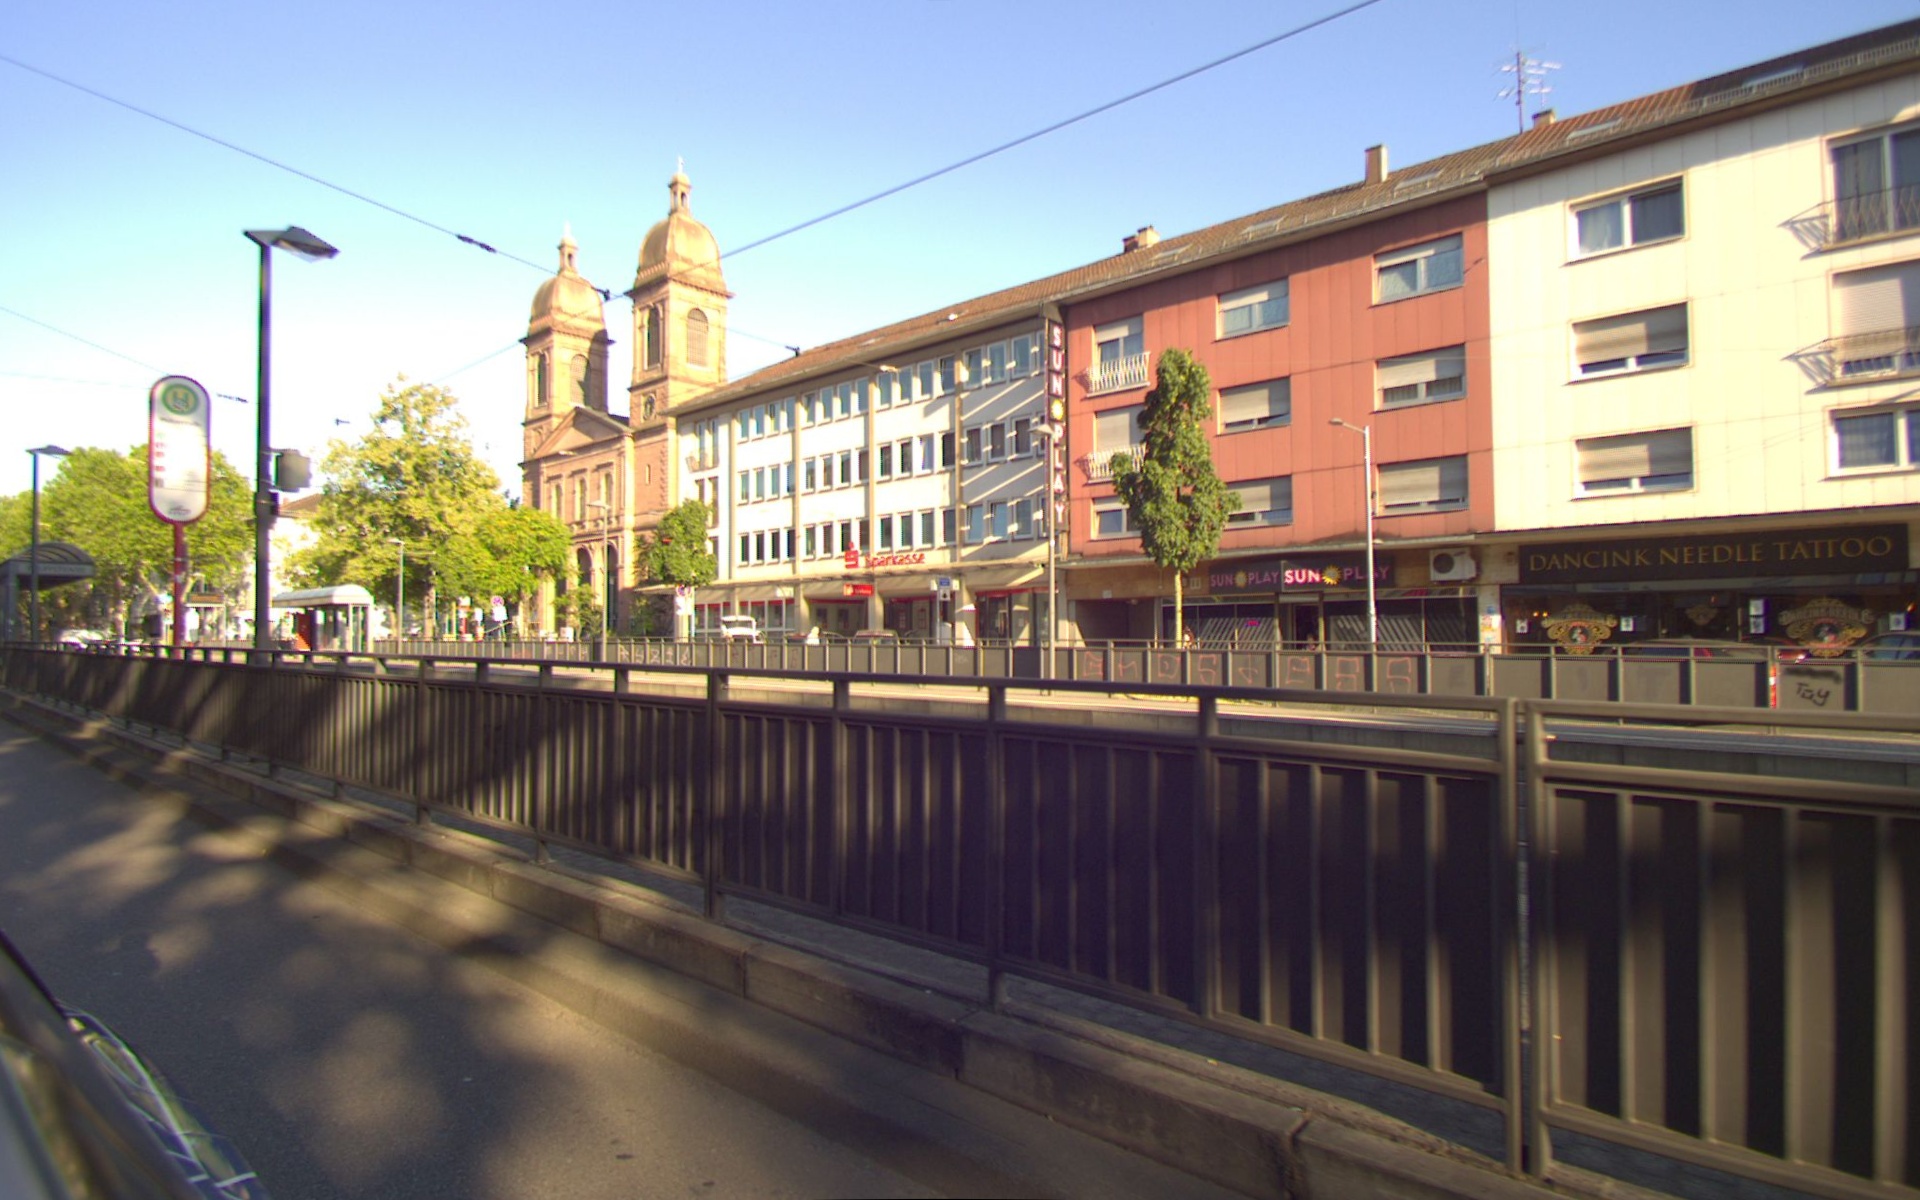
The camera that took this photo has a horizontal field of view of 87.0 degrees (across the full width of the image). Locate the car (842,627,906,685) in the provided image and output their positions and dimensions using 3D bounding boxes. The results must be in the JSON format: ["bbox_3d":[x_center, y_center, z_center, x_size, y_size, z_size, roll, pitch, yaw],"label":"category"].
[{"bbox_3d":[-2.656,1.698,31.570,1.842,1.541,4.004,-1,0,-4],"label":"car"}]

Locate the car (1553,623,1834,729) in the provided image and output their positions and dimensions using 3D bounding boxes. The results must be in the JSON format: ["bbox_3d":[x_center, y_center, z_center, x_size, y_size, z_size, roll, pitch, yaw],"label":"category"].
[{"bbox_3d":[12.832,1.246,18.024,1.834,1.502,3.778,-2,1,-11],"label":"car"}]

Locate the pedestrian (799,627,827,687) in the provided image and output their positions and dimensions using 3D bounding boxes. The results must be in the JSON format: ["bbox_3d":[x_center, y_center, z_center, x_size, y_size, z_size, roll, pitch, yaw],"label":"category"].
[{"bbox_3d":[-4.555,1.754,31.319,0.757,1.801,0.725,-1,0,-2],"label":"pedestrian"}]

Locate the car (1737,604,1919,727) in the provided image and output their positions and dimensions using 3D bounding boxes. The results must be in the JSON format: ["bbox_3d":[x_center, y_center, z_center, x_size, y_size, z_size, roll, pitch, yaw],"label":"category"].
[{"bbox_3d":[15.484,1.017,16.809,1.834,1.813,3.778,-2,1,-11],"label":"car"}]

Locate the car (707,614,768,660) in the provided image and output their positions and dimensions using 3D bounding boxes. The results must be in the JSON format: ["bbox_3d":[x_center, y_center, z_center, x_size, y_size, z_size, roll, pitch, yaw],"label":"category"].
[{"bbox_3d":[-7.997,1.284,36.658,1.716,1.497,4.006,-1,0,-6],"label":"car"}]
